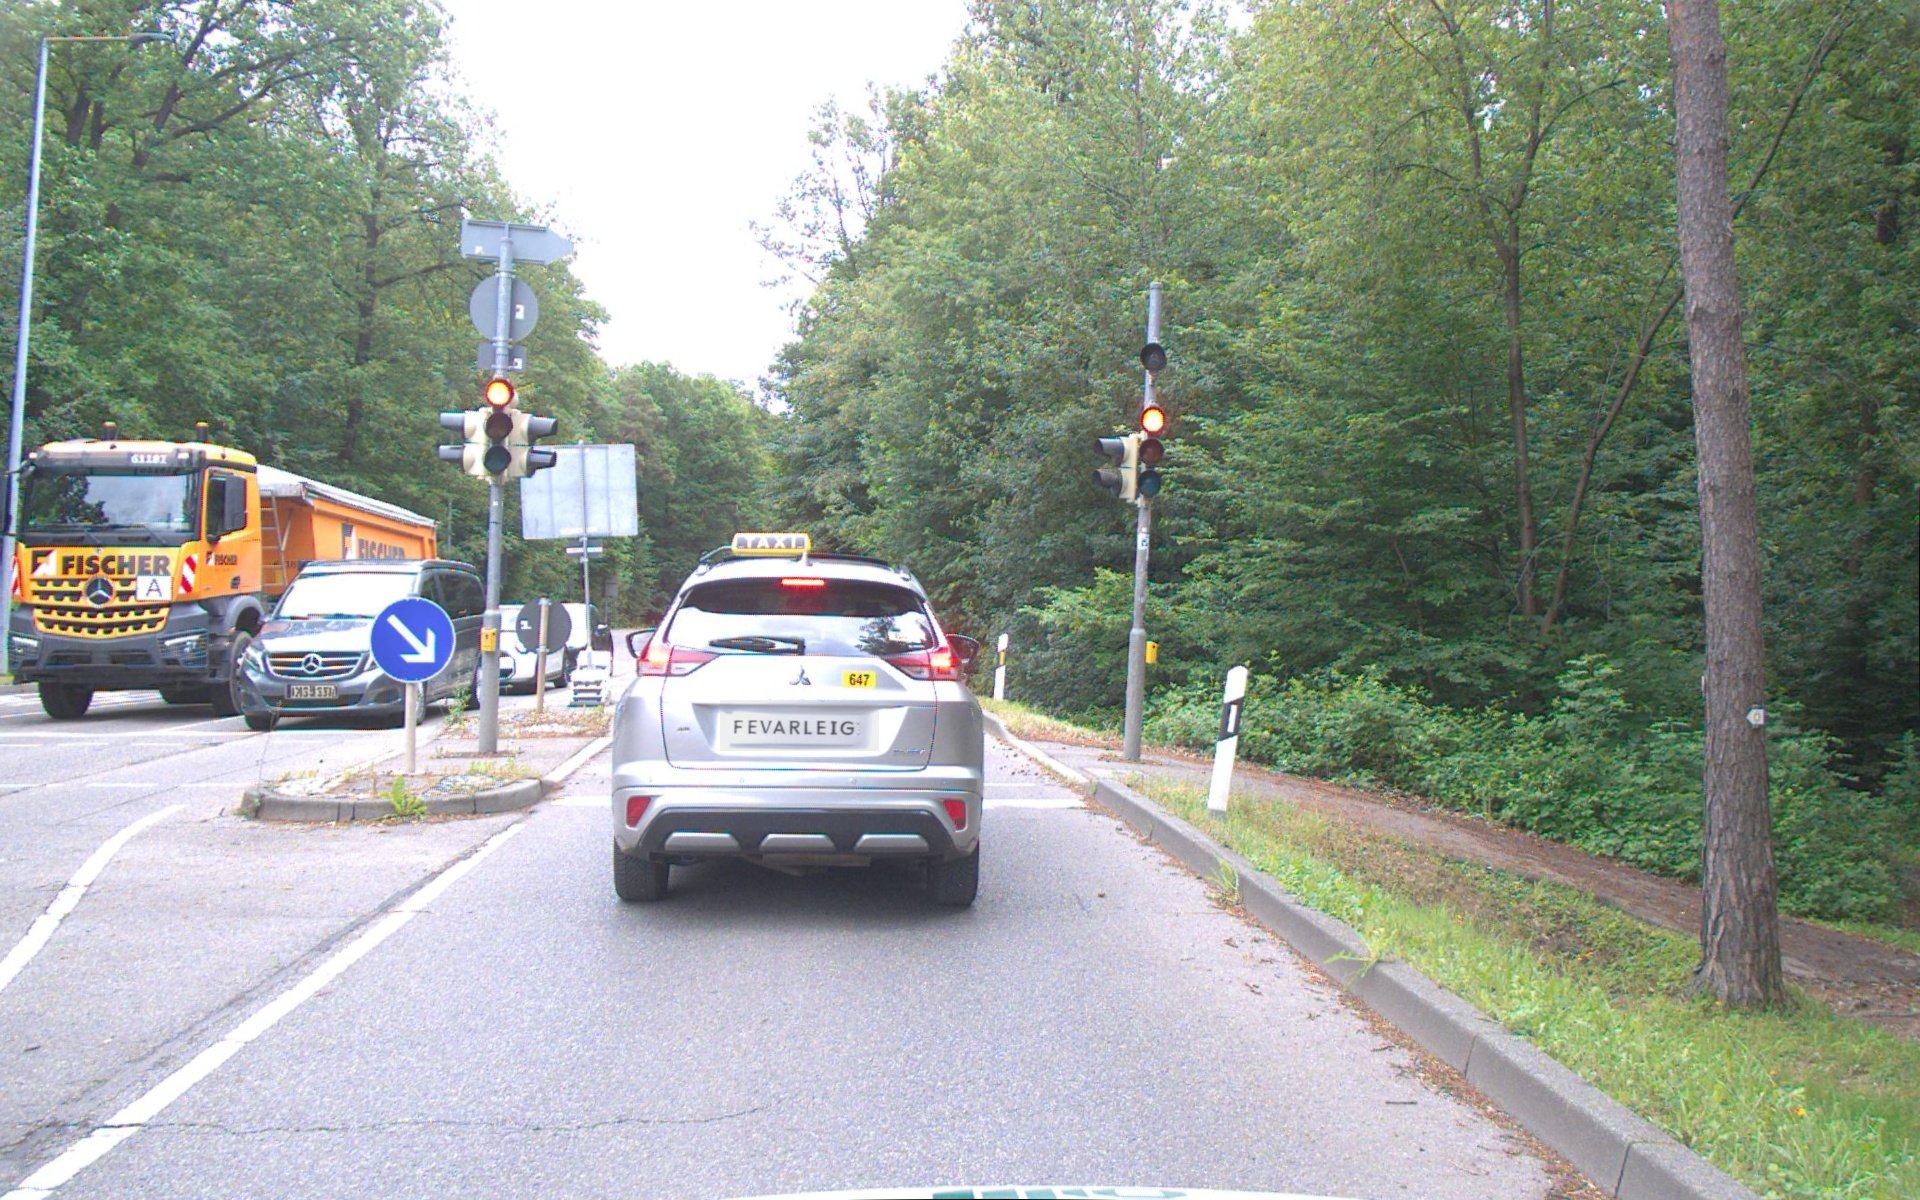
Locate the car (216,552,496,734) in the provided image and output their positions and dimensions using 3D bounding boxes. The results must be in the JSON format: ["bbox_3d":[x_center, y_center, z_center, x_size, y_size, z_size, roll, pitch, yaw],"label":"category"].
[{"bbox_3d":[-7.152,0.474,20.154,1.954,1.927,4.834,-1,-1,-5],"label":"car"}]

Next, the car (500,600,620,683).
[{"bbox_3d":[-7.994,0.804,33.367,1.776,1.534,3.717,-1,0,-5],"label":"car"}]

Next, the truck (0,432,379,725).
[{"bbox_3d":[-10.272,-0.203,22.760,2.686,3.376,7.150,0,-1,-6],"label":"truck"}]

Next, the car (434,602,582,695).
[{"bbox_3d":[-7.406,0.754,27.434,1.580,1.344,3.719,-1,1,-3],"label":"car"}]

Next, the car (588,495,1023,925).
[{"bbox_3d":[-0.862,0.480,9.083,1.811,1.811,3.995,2,0,-6],"label":"car"}]

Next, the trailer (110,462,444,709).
[{"bbox_3d":[-10.701,-0.139,27.015,2.686,3.376,8.557,0,-1,-6],"label":"trailer"}]
